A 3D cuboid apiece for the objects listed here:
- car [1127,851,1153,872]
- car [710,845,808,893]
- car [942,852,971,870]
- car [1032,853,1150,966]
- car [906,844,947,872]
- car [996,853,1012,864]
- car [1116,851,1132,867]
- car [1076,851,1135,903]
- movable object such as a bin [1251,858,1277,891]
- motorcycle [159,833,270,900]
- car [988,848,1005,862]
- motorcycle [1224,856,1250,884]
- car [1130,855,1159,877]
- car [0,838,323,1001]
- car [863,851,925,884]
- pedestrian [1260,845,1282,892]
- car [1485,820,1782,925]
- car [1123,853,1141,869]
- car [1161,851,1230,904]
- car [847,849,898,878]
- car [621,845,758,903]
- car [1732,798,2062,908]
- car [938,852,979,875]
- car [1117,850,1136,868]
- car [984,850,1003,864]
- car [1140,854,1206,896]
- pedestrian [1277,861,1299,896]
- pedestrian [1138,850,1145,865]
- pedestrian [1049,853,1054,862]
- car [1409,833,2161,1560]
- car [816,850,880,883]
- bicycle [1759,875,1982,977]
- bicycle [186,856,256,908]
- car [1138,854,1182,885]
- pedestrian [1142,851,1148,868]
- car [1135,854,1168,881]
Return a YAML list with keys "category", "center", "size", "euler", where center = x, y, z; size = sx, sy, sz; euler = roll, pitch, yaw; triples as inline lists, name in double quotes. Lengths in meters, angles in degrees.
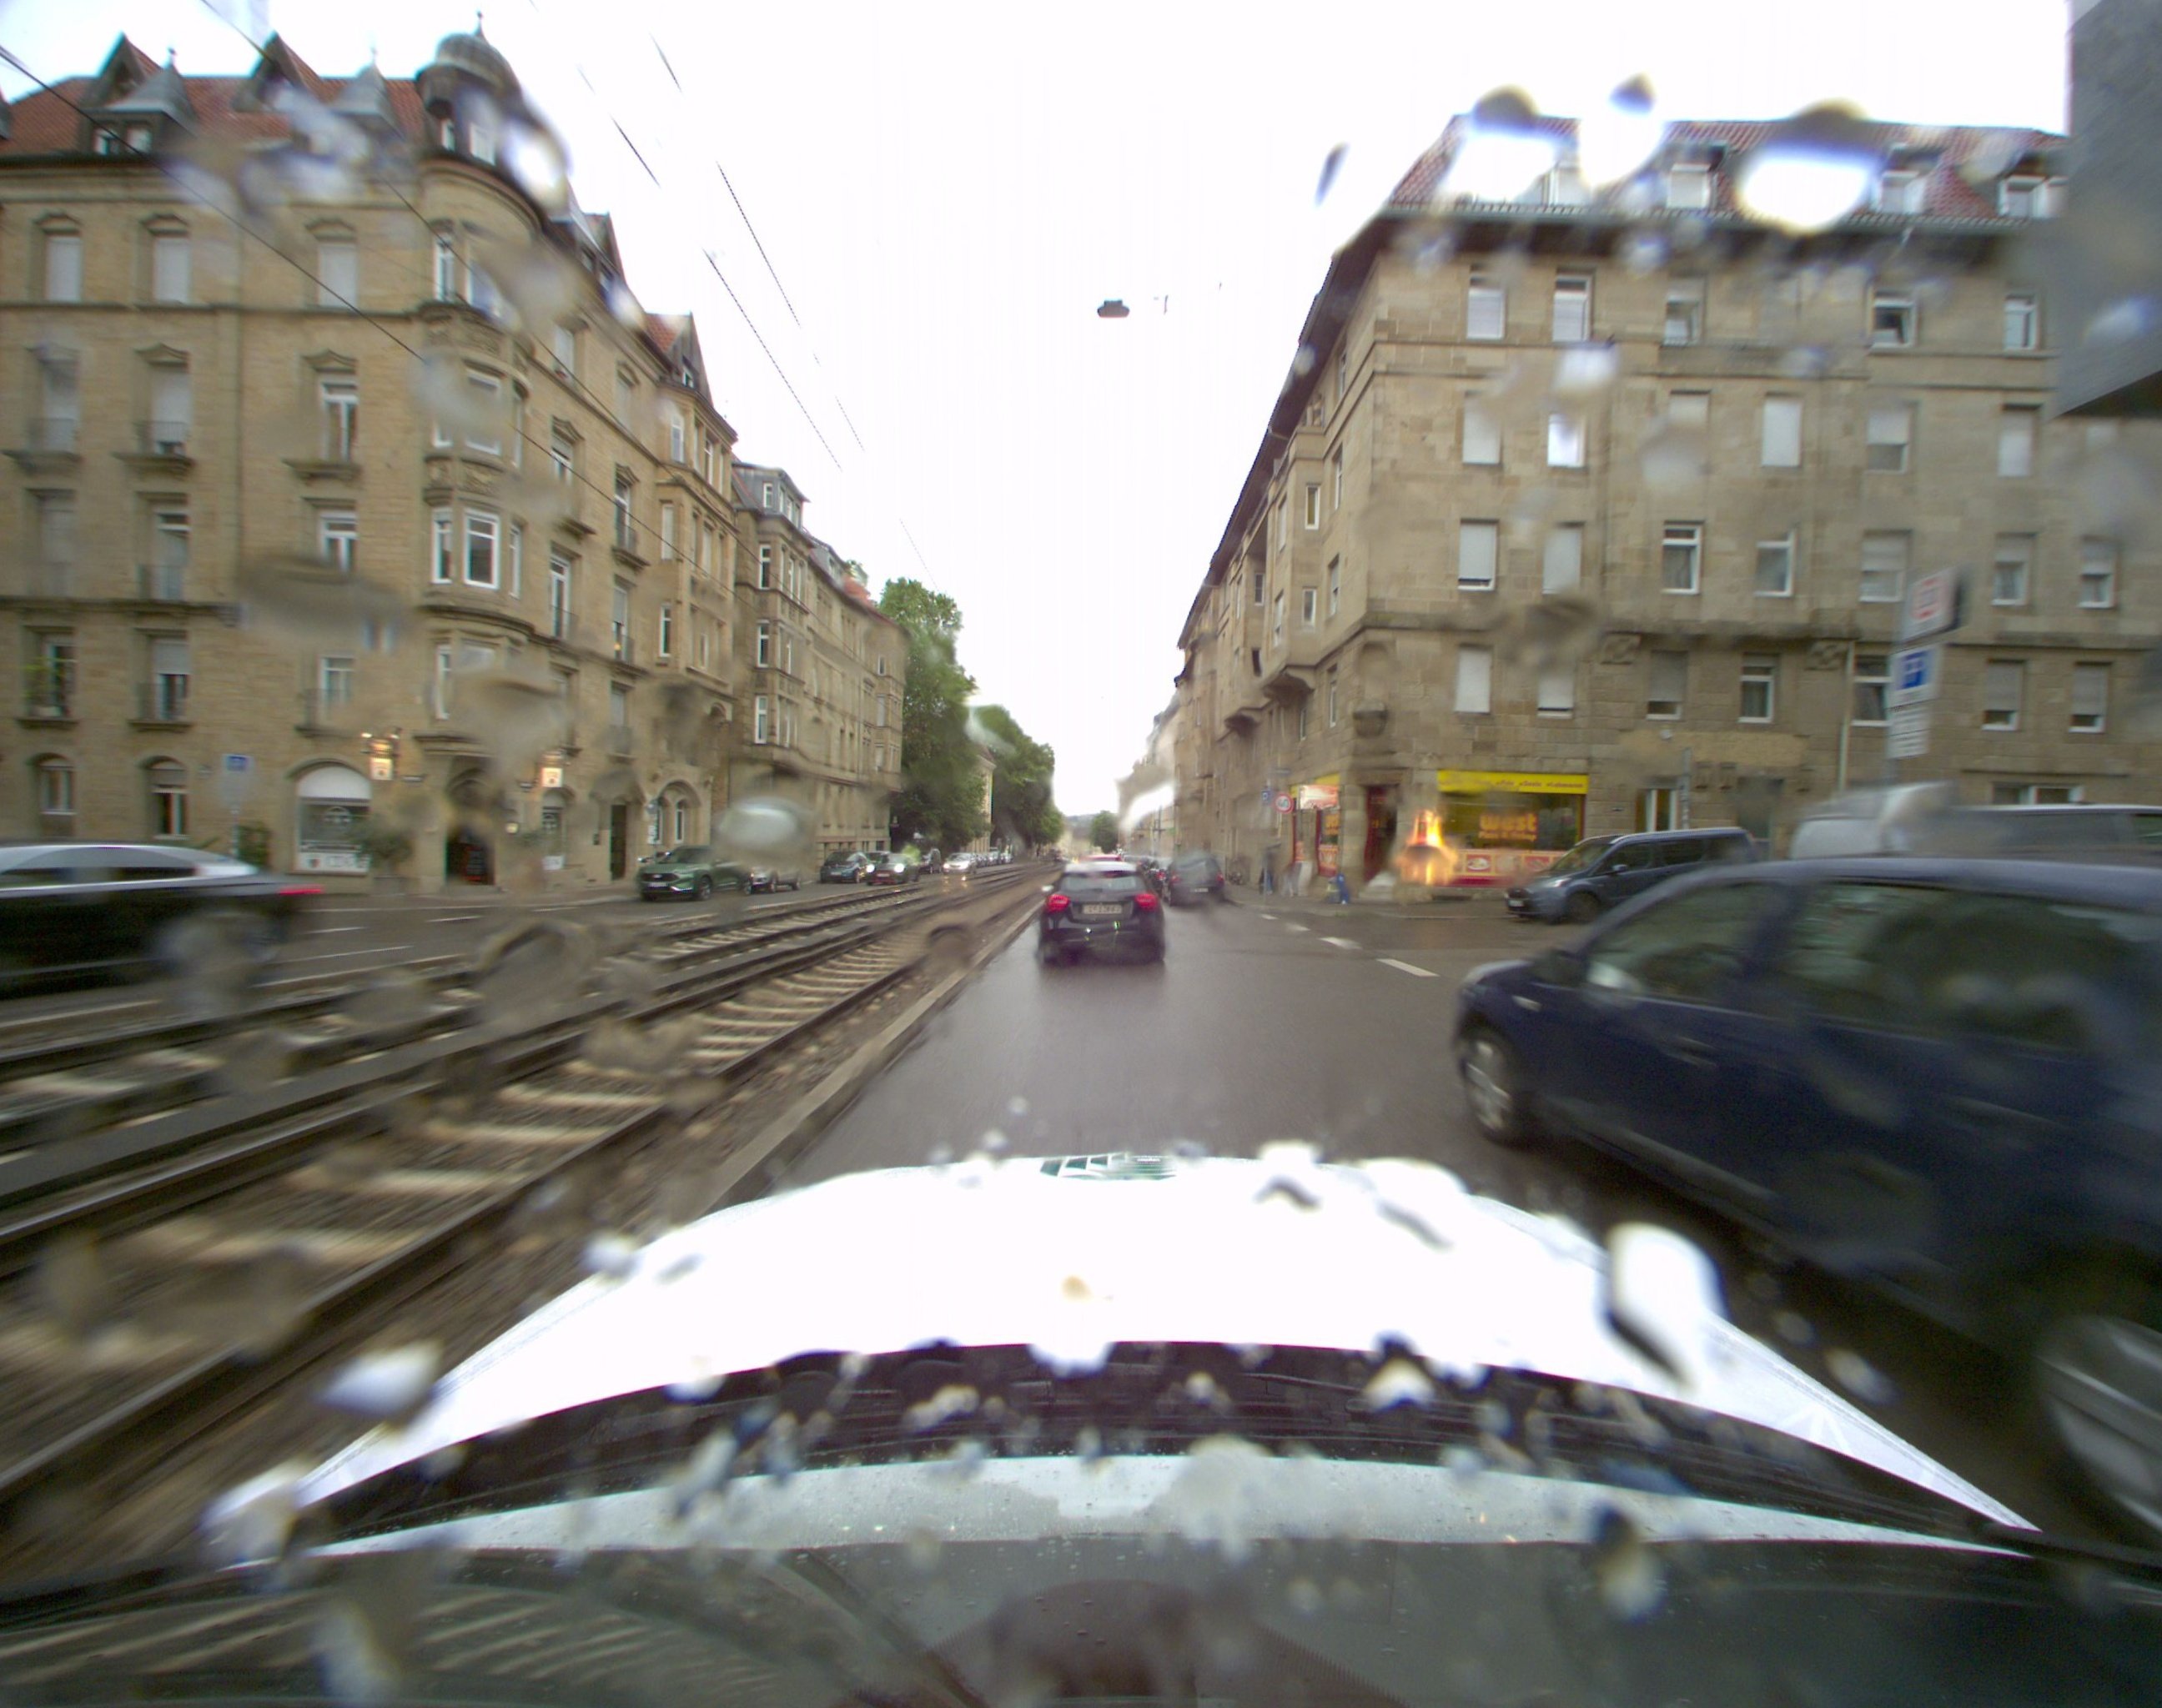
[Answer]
- category: "car"
  center: [4.328, 0.530, 60.208]
  size: [1.662, 1.434, 3.956]
  euler: [0, 0, 0]
- category: "car"
  center: [-11.682, 0.509, 29.899]
  size: [1.852, 1.652, 4.315]
  euler: [0, 0, 0]
- category: "car"
  center: [-10.686, 0.594, 70.234]
  size: [1.843, 1.464, 4.549]
  euler: [-1, 0, -1]
- category: "car"
  center: [0.165, 0.750, 12.727]
  size: [1.575, 1.505, 3.575]
  euler: [0, 0, 1]
- category: "car"
  center: [-10.821, 0.263, 57.322]
  size: [1.794, 1.846, 4.819]
  euler: [-1, 0, 1]
- category: "car"
  center: [-9.915, 0.590, 105.264]
  size: [1.494, 1.391, 3.990]
  euler: [-1, 0, 2]
- category: "car"
  center: [5.114, 0.561, 96.109]
  size: [1.821, 1.750, 4.470]
  euler: [1, 0, 3]
- category: "car"
  center: [0.801, 0.701, 26.721]
  size: [1.779, 1.581, 4.001]
  euler: [0, 0, 1]
- category: "movable object such as a bin"
  center: [6.277, 0.702, 27.999]
  size: [0.663, 1.103, 1.124]
  euler: [1, 0, 1]
- category: "motorcycle"
  center: [-21.732, 0.305, 20.451]
  size: [2.069, 1.619, 0.623]
  euler: [-1, 0, -1]
- category: "car"
  center: [-10.059, 0.114, 97.368]
  size: [1.534, 1.505, 4.154]
  euler: [-1, 0, 1]
- category: "motorcycle"
  center: [6.962, 0.690, 36.553]
  size: [0.702, 1.199, 2.747]
  euler: [0, 0, 1]
- category: "car"
  center: [4.257, 0.764, 55.024]
  size: [1.586, 1.434, 3.682]
  euler: [0, 0, -1]
- category: "car"
  center: [-10.673, 0.593, 7.817]
  size: [2.079, 1.457, 4.863]
  euler: [0, 0, 3]
- category: "car"
  center: [-8.371, 0.581, 36.829]
  size: [1.697, 1.388, 3.785]
  euler: [0, 0, 4]
- category: "pedestrian"
  center: [6.303, 0.489, 27.072]
  size: [0.559, 1.535, 0.710]
  euler: [0, 0, 1]
- category: "car"
  center: [11.270, 0.360, 16.872]
  size: [4.762, 1.861, 2.000]
  euler: [-2, 0, 0]
- category: "car"
  center: [4.768, 0.659, 76.799]
  size: [1.564, 1.462, 3.601]
  euler: [0, 0, 2]
- category: "car"
  center: [3.404, 0.655, 24.837]
  size: [1.664, 1.444, 3.792]
  euler: [-1, 0, 2]
- category: "car"
  center: [-11.516, 0.484, 45.246]
  size: [1.688, 1.524, 3.856]
  euler: [-1, 0, 2]
- category: "car"
  center: [-11.784, 0.559, 24.877]
  size: [1.851, 1.602, 4.433]
  euler: [0, 0, 3]
- category: "car"
  center: [16.743, 0.003, 16.927]
  size: [4.688, 1.926, 2.000]
  euler: [-3, -2, 1]
- category: "car"
  center: [-7.986, 0.597, 53.471]
  size: [1.975, 1.457, 4.294]
  euler: [0, 0, 0]
- category: "car"
  center: [4.503, 0.473, 81.142]
  size: [1.784, 1.765, 4.212]
  euler: [0, 0, 1]
- category: "car"
  center: [-9.681, 0.332, 90.174]
  size: [1.534, 1.413, 3.953]
  euler: [-1, 0, 0]
- category: "car"
  center: [3.304, 0.716, 30.070]
  size: [1.750, 1.387, 4.482]
  euler: [-1, 0, -2]
- category: "pedestrian"
  center: [6.361, 0.742, 25.051]
  size: [0.509, 1.050, 0.627]
  euler: [0, 0, 1]
- category: "pedestrian"
  center: [7.360, 0.404, 98.448]
  size: [0.743, 1.833, 1.039]
  euler: [-2, 0, 3]
- category: "pedestrian"
  center: [-5.385, 0.625, 148.100]
  size: [0.803, 1.633, 0.892]
  euler: [-1, 0, 2]
- category: "car"
  center: [2.962, 0.684, 3.083]
  size: [1.687, 1.482, 3.925]
  euler: [-1, 0, -3]
- category: "car"
  center: [-11.382, 0.591, 40.117]
  size: [1.864, 1.508, 4.170]
  euler: [0, 0, 1]
- category: "bicycle"
  center: [8.077, 0.718, 8.374]
  size: [1.742, 0.973, 0.533]
  euler: [1, 0, 2]
- category: "bicycle"
  center: [-19.700, 0.633, 18.641]
  size: [2.109, 1.119, 0.624]
  euler: [-1, 0, 30]
- category: "car"
  center: [3.886, 0.739, 40.629]
  size: [1.782, 1.462, 4.083]
  euler: [0, 0, 0]
- category: "pedestrian"
  center: [6.801, 0.617, 86.506]
  size: [0.605, 1.763, 0.688]
  euler: [-1, 0, 0]
- category: "car"
  center: [3.900, 0.741, 45.549]
  size: [1.539, 1.415, 3.446]
  euler: [0, 0, 0]
